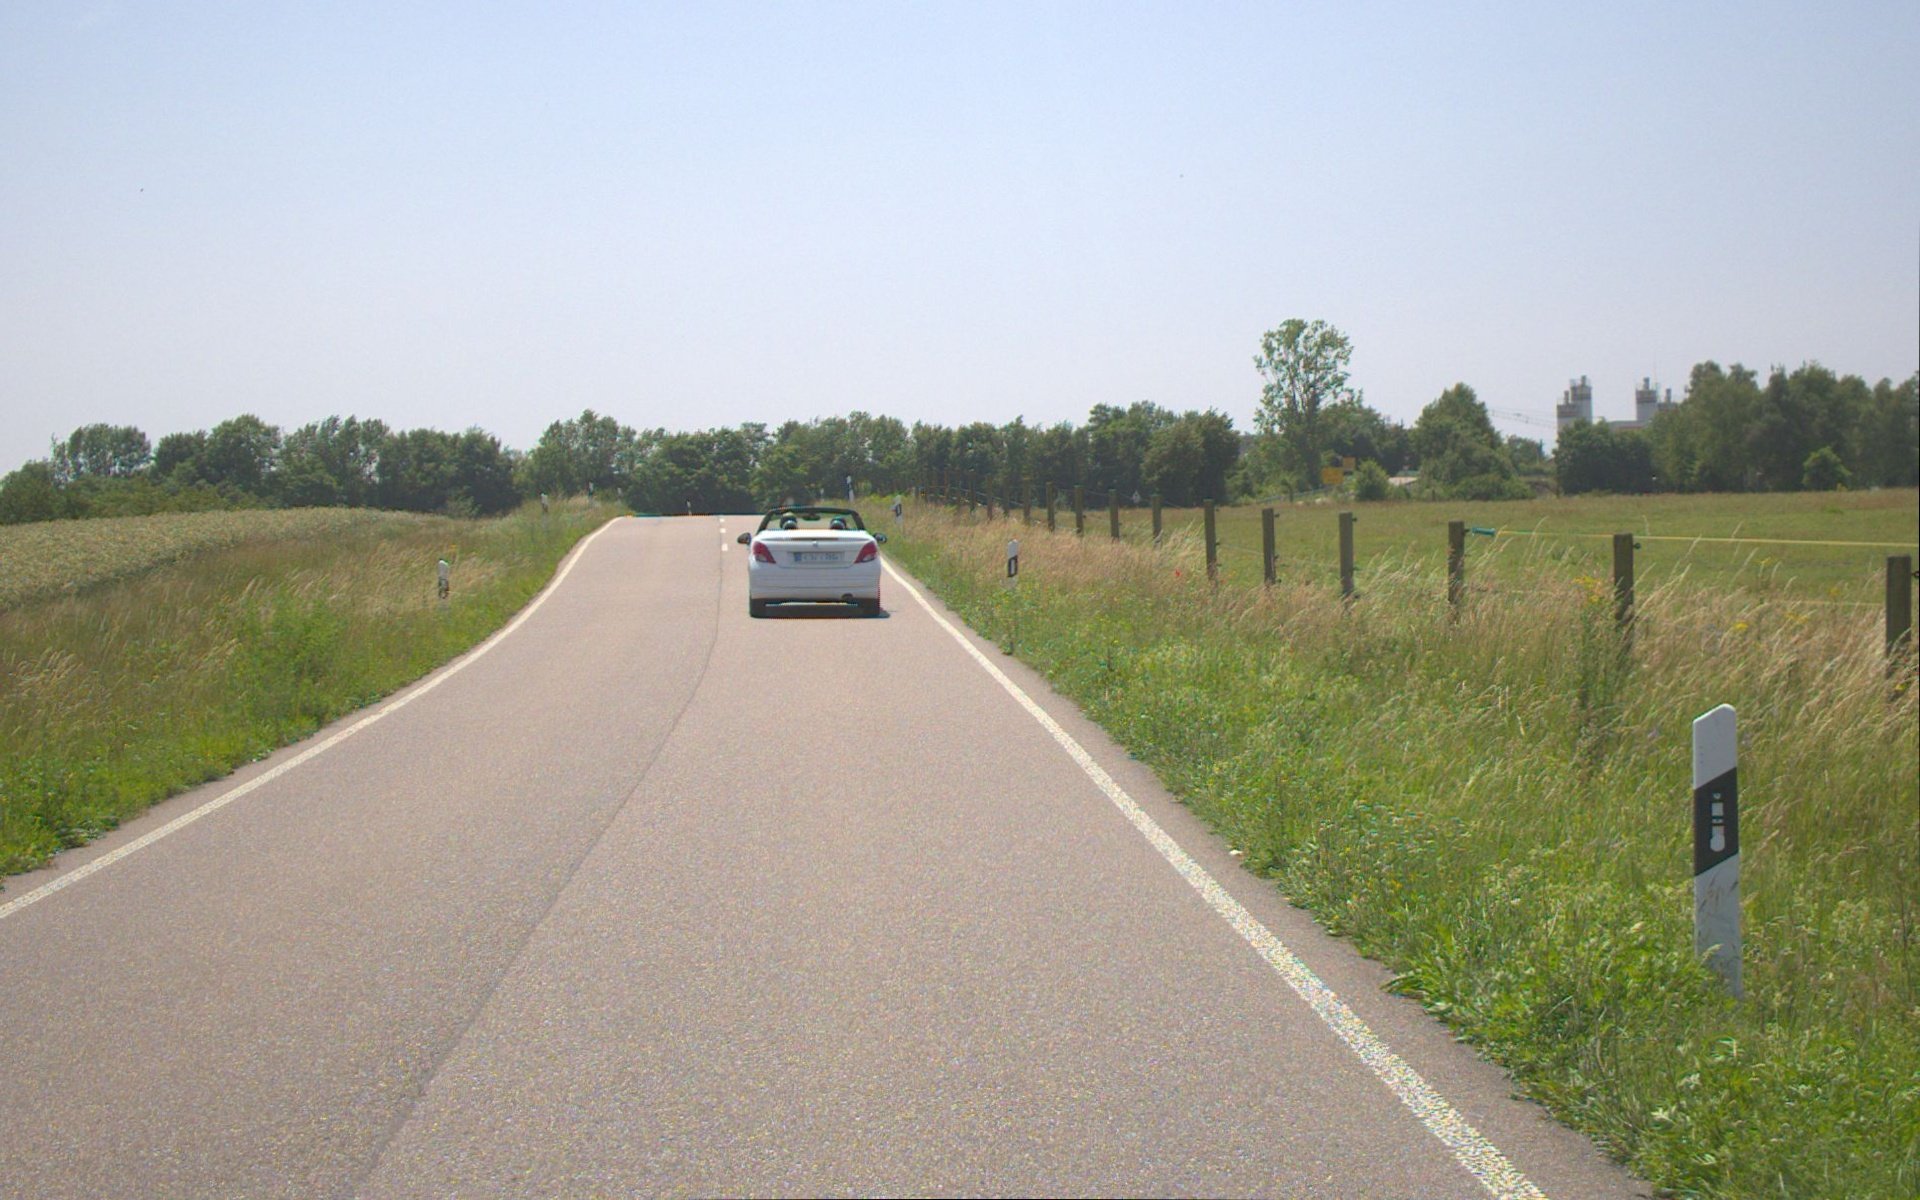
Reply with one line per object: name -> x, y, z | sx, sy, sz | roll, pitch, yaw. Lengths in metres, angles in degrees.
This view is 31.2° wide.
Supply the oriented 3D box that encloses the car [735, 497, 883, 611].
car -> -2.019, -0.632, 45.255 | 1.850, 1.374, 4.001 | 0, 3, -3
